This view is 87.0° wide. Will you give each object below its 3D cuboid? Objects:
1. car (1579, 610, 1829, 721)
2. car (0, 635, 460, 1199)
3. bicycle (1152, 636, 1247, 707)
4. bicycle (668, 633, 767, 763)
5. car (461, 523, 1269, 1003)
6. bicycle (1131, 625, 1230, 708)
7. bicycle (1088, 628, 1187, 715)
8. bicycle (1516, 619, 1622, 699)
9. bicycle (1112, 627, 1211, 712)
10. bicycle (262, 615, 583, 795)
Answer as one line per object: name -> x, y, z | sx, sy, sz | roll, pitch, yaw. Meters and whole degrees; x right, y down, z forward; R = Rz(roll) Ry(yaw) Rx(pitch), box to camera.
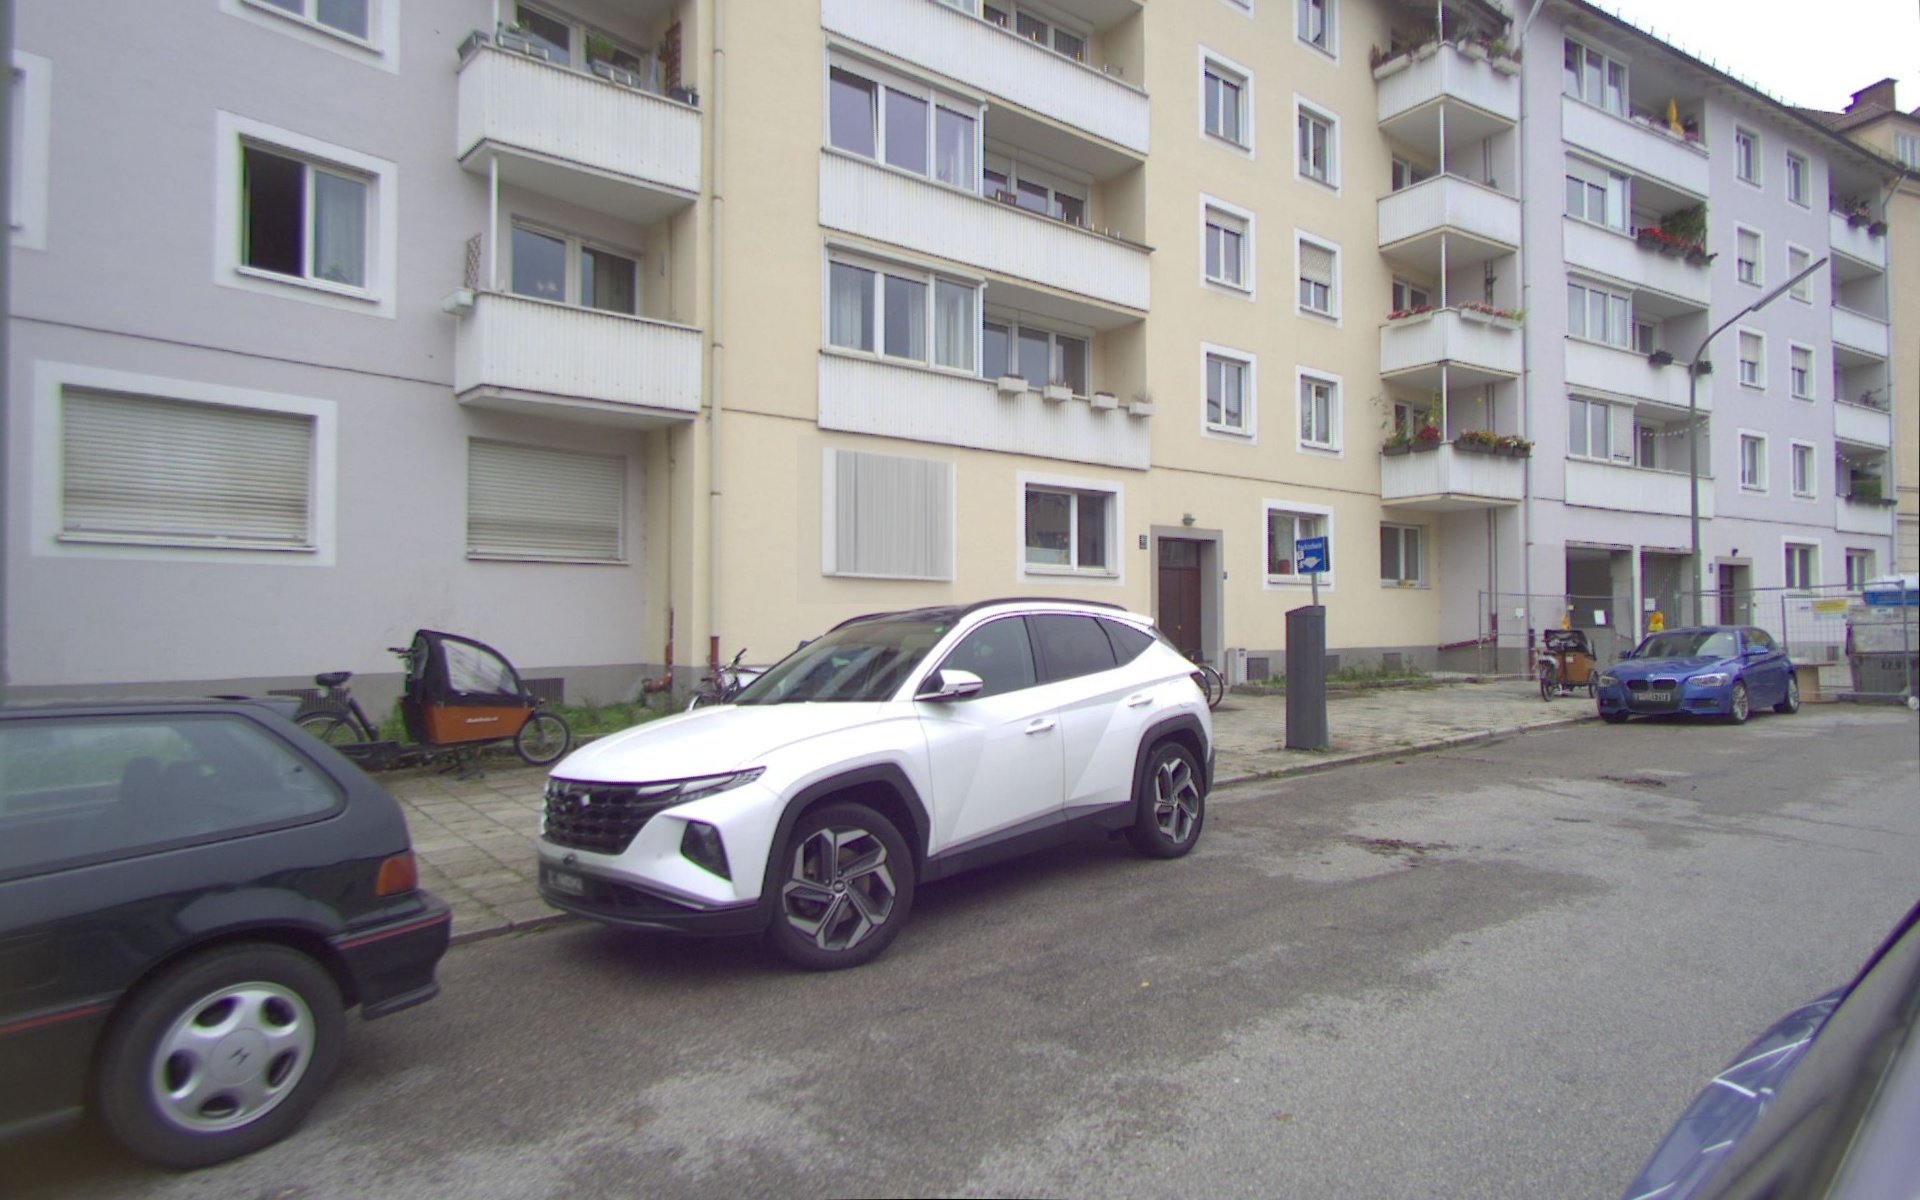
car -> 11.500, 0.959, 15.534 | 4.542, 1.461, 1.834 | 1, -4, -37
car -> -3.476, 0.835, 2.427 | 1.656, 1.366, 3.749 | -3, -2, 40
bicycle -> 3.899, 1.147, 16.589 | 0.361, 1.049, 1.705 | 2, -1, -35
bicycle -> -2.538, 0.990, 10.789 | 0.567, 1.172, 1.832 | 1, 0, 1
car -> -0.186, 0.677, 5.976 | 2.025, 1.700, 4.540 | -4, -4, 43
bicycle -> 3.516, 1.033, 16.267 | 0.424, 1.237, 1.705 | 2, -1, -35
bicycle -> 2.720, 1.062, 15.642 | 0.424, 1.237, 1.705 | 2, -1, -35
bicycle -> 11.189, 1.034, 18.552 | 2.725, 1.339, 0.811 | 0, 0, -39
bicycle -> 3.155, 1.061, 15.966 | 0.424, 1.237, 1.705 | 2, -1, -35
bicycle -> -4.748, 0.847, 9.144 | 0.742, 1.384, 2.434 | 3, 1, 41
